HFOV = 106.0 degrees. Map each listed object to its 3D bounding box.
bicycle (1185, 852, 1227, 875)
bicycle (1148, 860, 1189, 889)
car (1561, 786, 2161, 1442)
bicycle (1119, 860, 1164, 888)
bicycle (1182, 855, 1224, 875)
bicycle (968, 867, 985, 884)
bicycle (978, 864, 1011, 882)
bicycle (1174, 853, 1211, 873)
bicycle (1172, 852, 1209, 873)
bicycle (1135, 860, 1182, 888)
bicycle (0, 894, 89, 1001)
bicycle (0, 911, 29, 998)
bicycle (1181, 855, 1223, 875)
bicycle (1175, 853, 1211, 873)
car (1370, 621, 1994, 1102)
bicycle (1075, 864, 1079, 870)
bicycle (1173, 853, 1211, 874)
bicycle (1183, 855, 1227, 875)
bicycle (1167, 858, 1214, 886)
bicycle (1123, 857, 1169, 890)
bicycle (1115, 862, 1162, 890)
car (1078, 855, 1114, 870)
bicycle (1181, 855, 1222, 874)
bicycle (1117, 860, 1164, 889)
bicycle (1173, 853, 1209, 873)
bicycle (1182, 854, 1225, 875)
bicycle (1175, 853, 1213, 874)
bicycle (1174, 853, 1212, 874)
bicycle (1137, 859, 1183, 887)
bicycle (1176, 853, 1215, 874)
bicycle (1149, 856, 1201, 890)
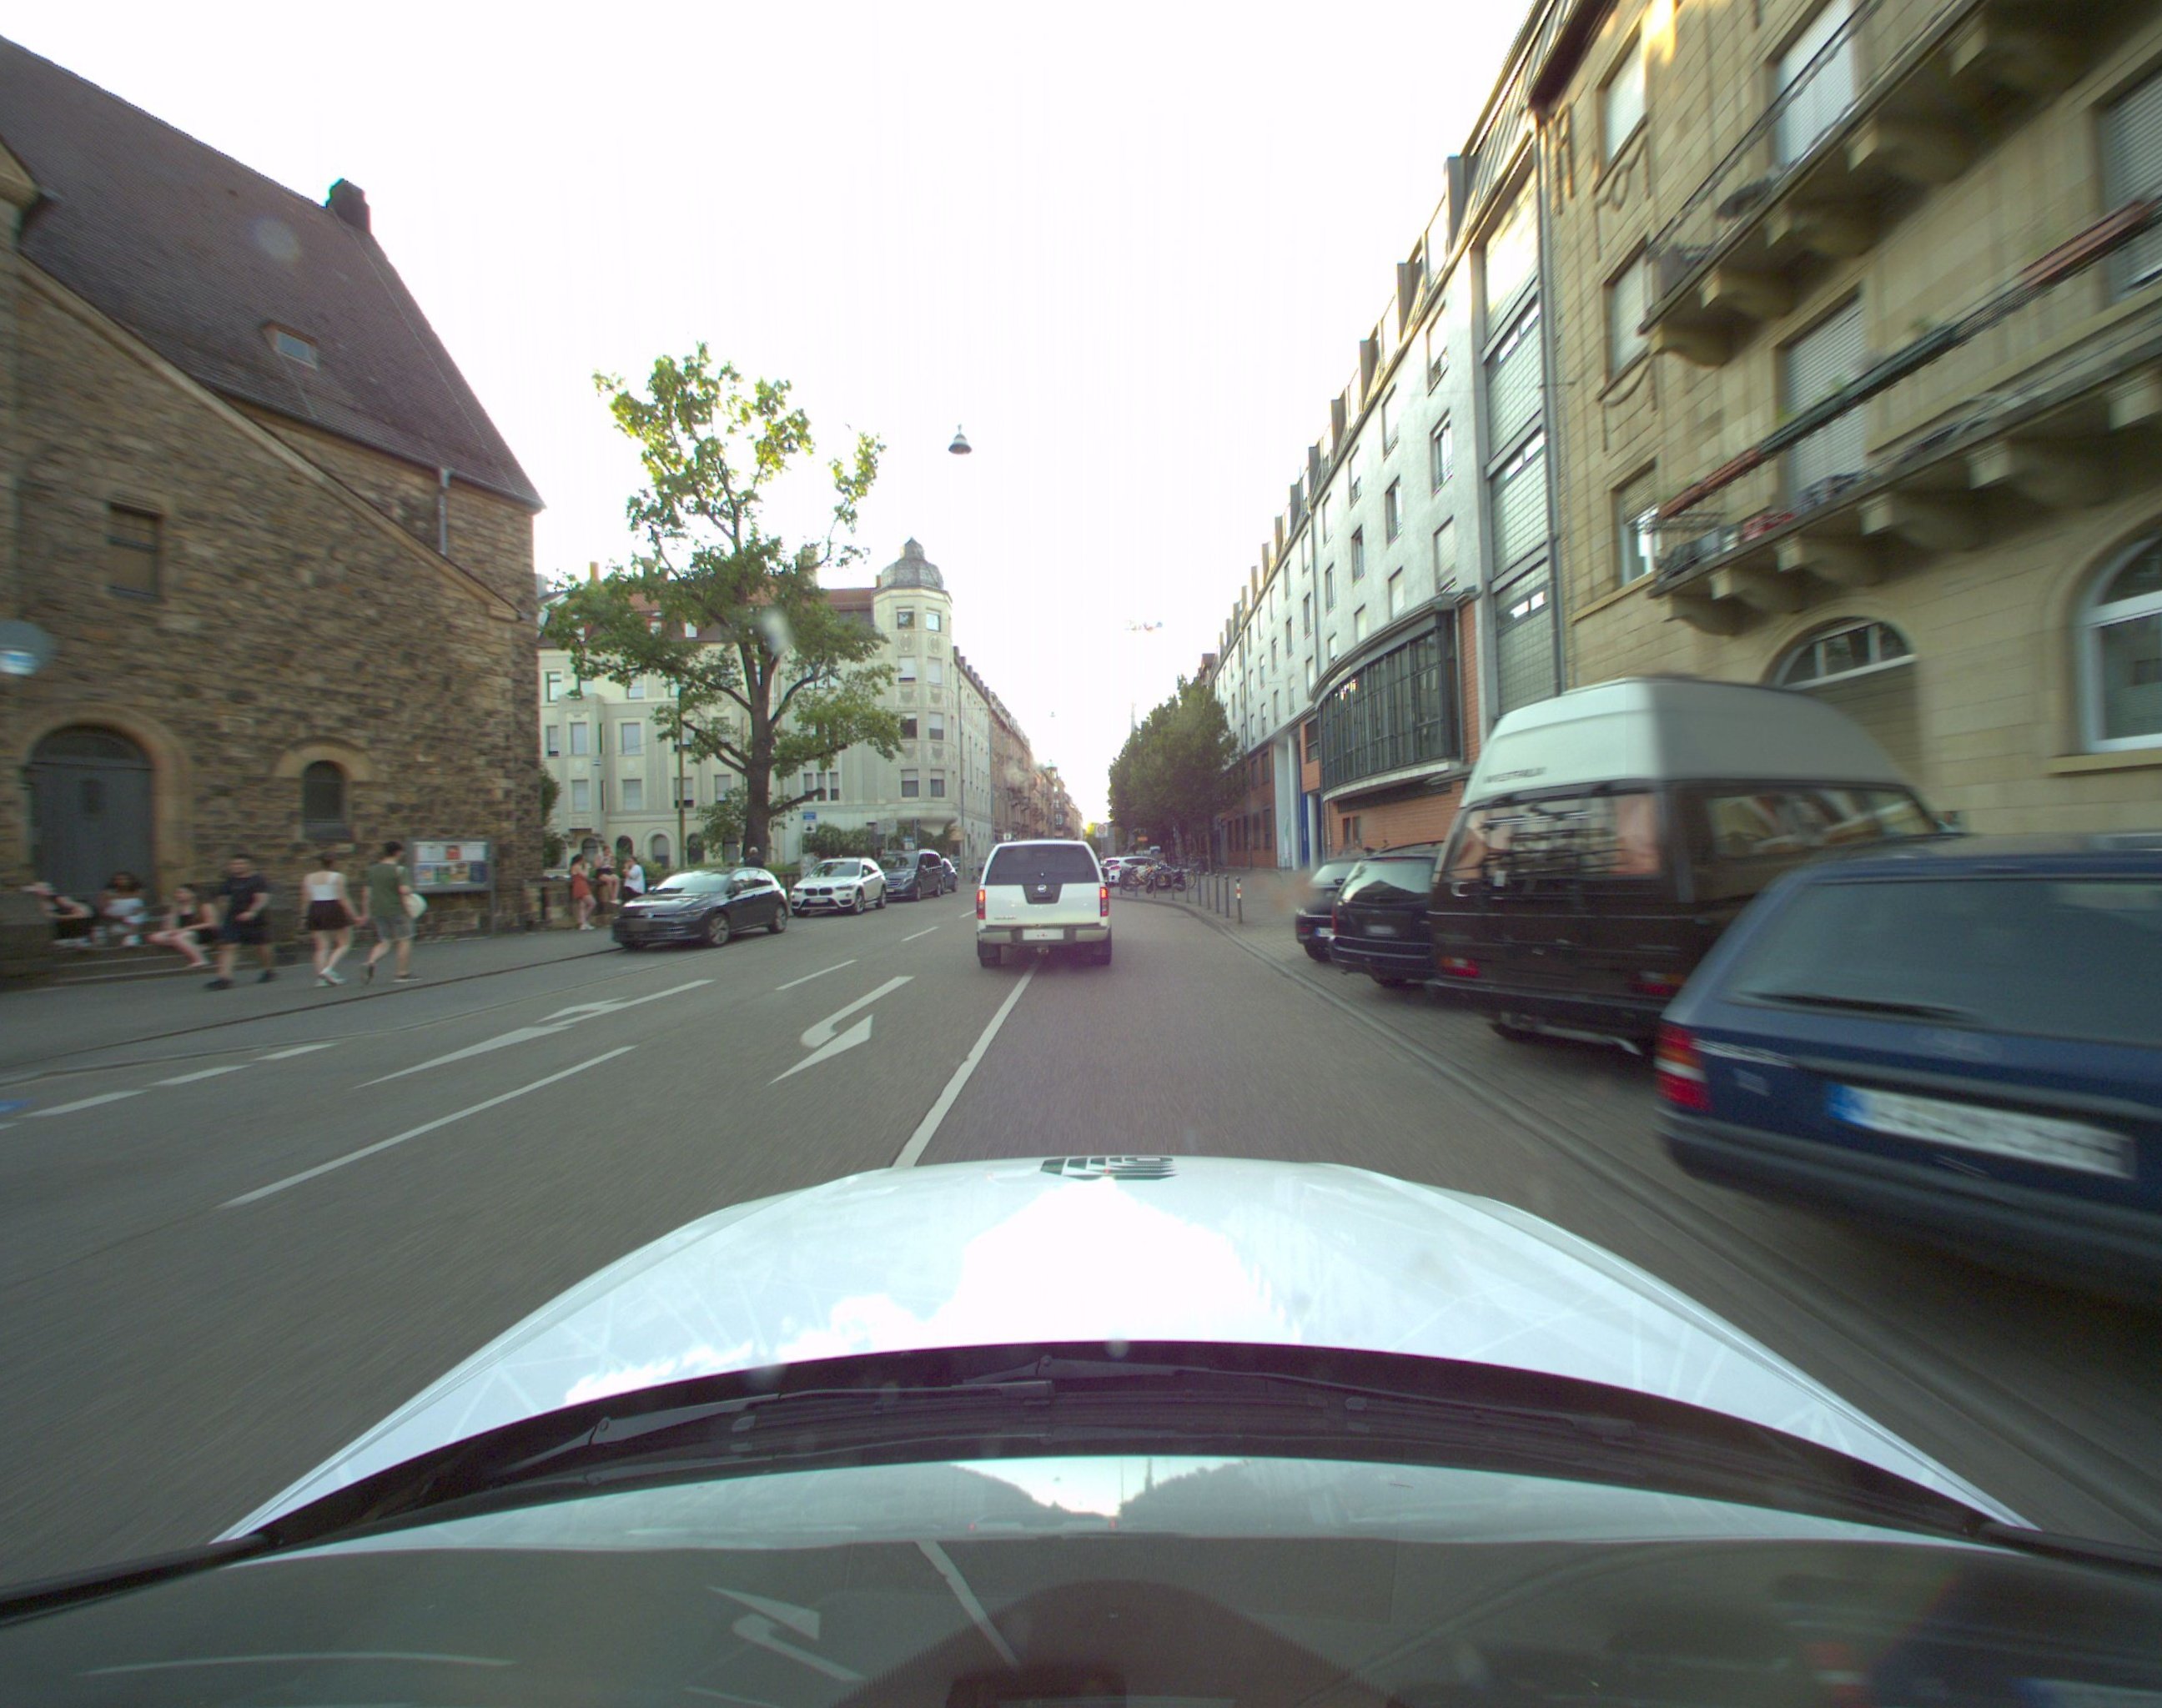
[{"bbox_3d":[7.399,0.562,48.174,2.336,1.099,0.681,-5,-1,4],"label":"bicycle"},{"bbox_3d":[3.514,0.812,32.653,1.534,1.038,0.472,-4,0,0],"label":"bicycle"},{"bbox_3d":[4.215,0.504,3.334,4.411,1.486,1.826,-4,0,-29],"label":"car"},{"bbox_3d":[2.568,0.864,34.762,1.851,1.066,0.445,-4,0,0],"label":"bicycle"},{"bbox_3d":[7.555,0.660,50.649,2.523,1.166,0.562,-2,-1,4],"label":"bicycle"},{"bbox_3d":[-6.560,1.330,51.162,0.420,1.012,1.726,-1,1,16],"label":"bicycle"},{"bbox_3d":[-5.557,1.218,52.146,2.090,1.095,0.504,-1,1,26],"label":"bicycle"},{"bbox_3d":[7.907,0.644,57.853,2.523,1.379,0.600,-2,-1,4],"label":"bicycle"},{"bbox_3d":[7.930,0.635,59.195,2.523,1.244,0.600,-7,-1,4],"label":"bicycle"},{"bbox_3d":[3.192,0.828,33.708,1.851,1.038,0.402,-4,0,0],"label":"bicycle"},{"bbox_3d":[-13.165,1.144,10.088,1.715,1.248,0.439,-2,0,16],"label":"bicycle"},{"bbox_3d":[-13.350,1.198,9.641,1.864,0.989,0.443,-2,-1,17],"label":"bicycle"},{"bbox_3d":[7.606,0.669,51.272,2.523,1.166,0.562,-2,-1,4],"label":"bicycle"},{"bbox_3d":[8.294,0.637,60.334,2.523,1.379,0.600,-2,-1,4],"label":"bicycle"},{"bbox_3d":[4.706,0.003,6.257,4.737,2.547,1.901,-2,-1,-28],"label":"car"},{"bbox_3d":[-0.692,2.190,139.914,0.798,0.947,2.004,-1,0,0],"label":"bicycle"},{"bbox_3d":[7.772,0.681,57.064,2.523,1.379,0.600,-2,-1,4],"label":"bicycle"},{"bbox_3d":[7.495,0.678,49.380,2.523,0.959,0.681,-5,-1,4],"label":"bicycle"},{"bbox_3d":[4.613,0.755,34.469,1.851,1.066,0.524,-4,0,0],"label":"bicycle"},{"bbox_3d":[2.565,0.774,32.084,1.702,1.176,0.472,-4,0,0],"label":"bicycle"},{"bbox_3d":[2.343,0.886,33.186,1.851,1.038,0.472,-4,0,0],"label":"bicycle"},{"bbox_3d":[1.820,1.034,99.955,4.172,1.780,1.823,-1,0,7],"label":"car"},{"bbox_3d":[7.643,0.667,51.883,2.523,1.166,0.562,-2,-1,4],"label":"bicycle"},{"bbox_3d":[2.488,0.855,34.181,1.851,1.066,0.445,-4,0,0],"label":"bicycle"},{"bbox_3d":[7.894,0.629,58.500,2.523,1.379,0.600,-2,-1,4],"label":"bicycle"},{"bbox_3d":[7.502,0.633,50.002,2.523,1.166,0.562,-2,-1,4],"label":"bicycle"},{"bbox_3d":[7.724,0.640,55.603,2.523,1.379,0.600,-2,-1,4],"label":"bicycle"},{"bbox_3d":[7.739,0.637,56.235,2.523,1.379,0.600,-2,-1,4],"label":"bicycle"},{"bbox_3d":[3.444,0.827,35.577,1.905,1.066,0.524,-4,0,0],"label":"bicycle"},{"bbox_3d":[7.724,0.635,54.888,2.523,1.379,0.600,-2,-1,4],"label":"bicycle"},{"bbox_3d":[3.613,0.743,31.441,1.852,1.146,0.659,-5,0,1],"label":"bicycle"}]
